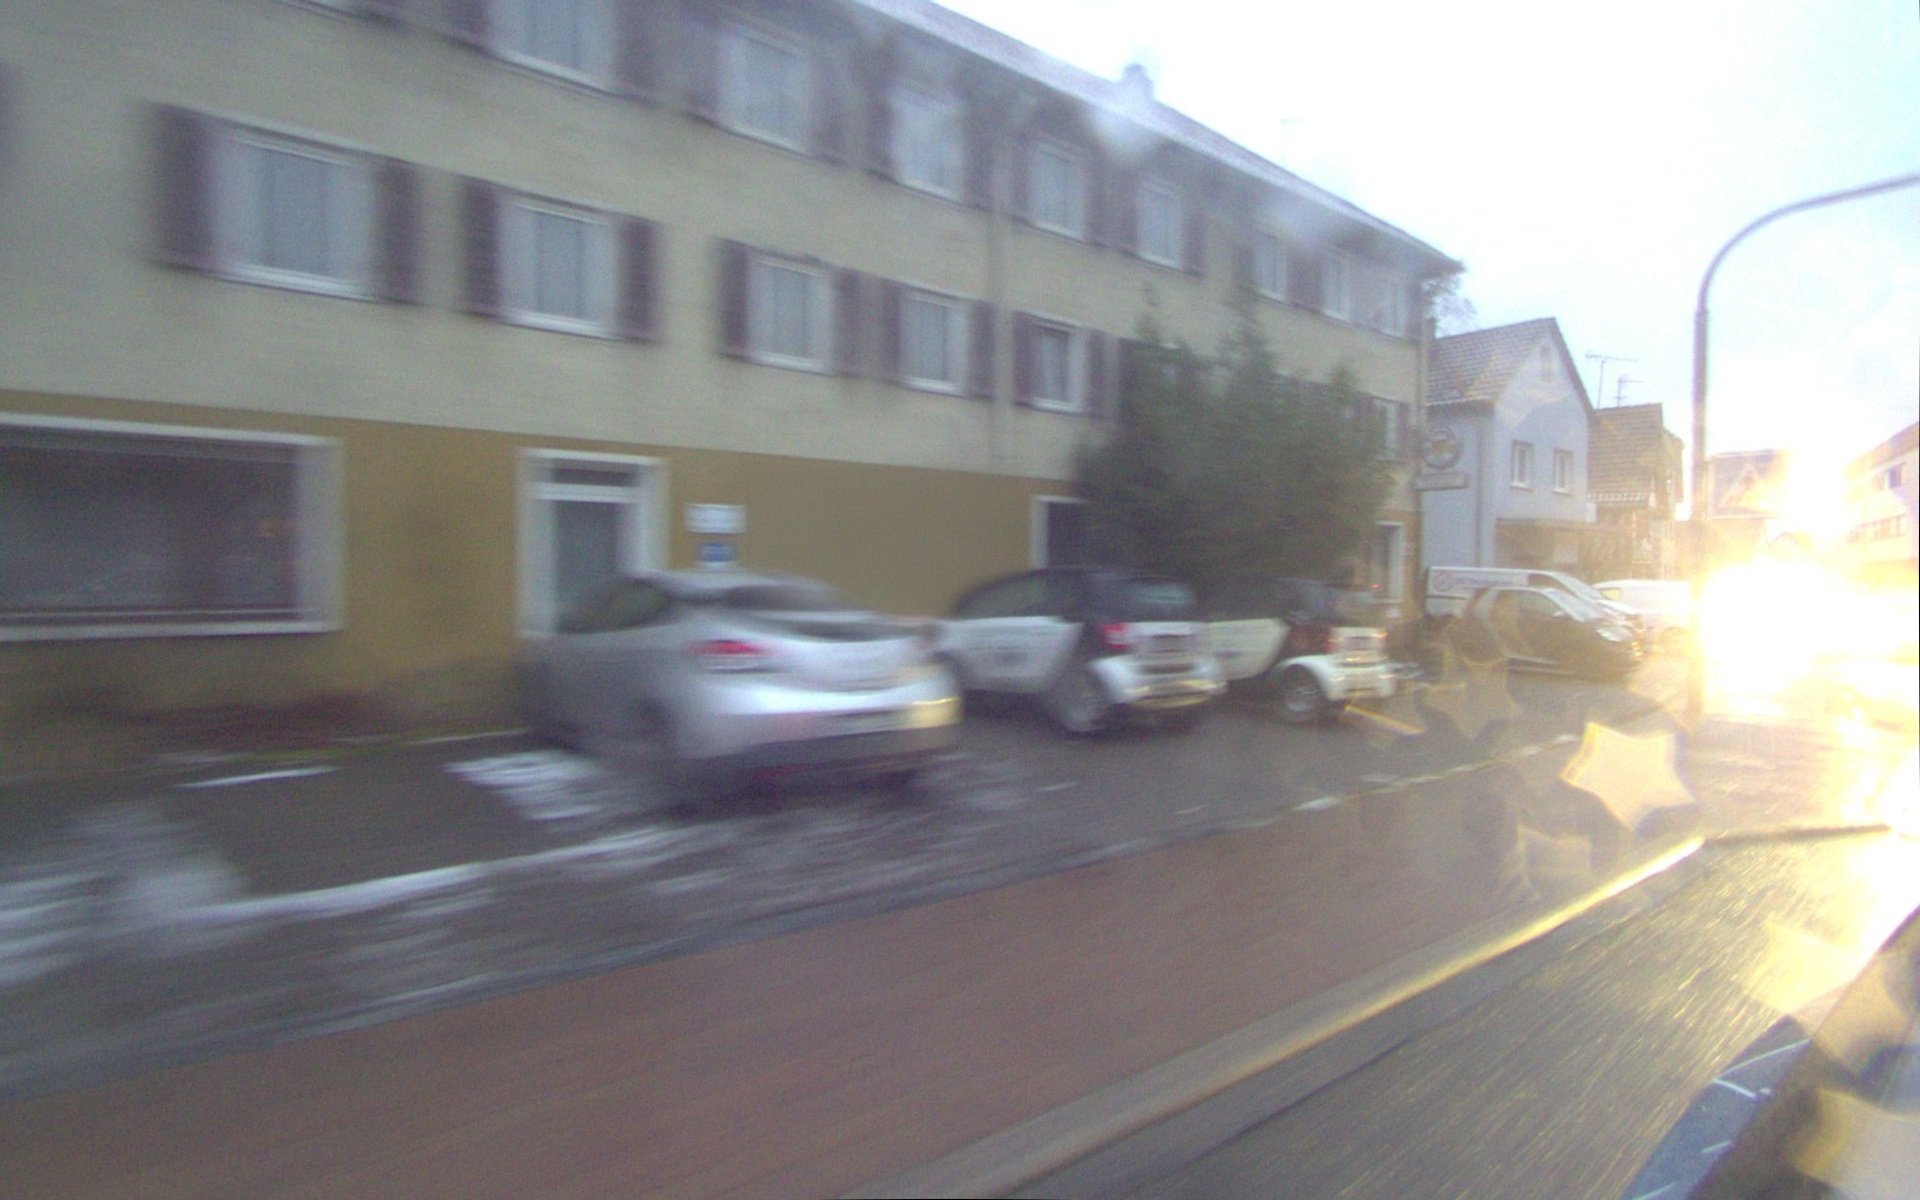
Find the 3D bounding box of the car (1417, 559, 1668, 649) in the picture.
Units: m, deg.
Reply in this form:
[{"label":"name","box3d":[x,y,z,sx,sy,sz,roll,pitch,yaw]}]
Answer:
[{"label":"car","box3d":[14.214,0.020,24.971,1.903,1.912,4.990,1,2,-42]}]

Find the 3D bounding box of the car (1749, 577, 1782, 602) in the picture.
[{"label":"car","box3d":[68.206,-0.892,85.767,1.825,2.039,3.655,-1,0,34]}]

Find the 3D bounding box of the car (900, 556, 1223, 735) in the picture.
[{"label":"car","box3d":[0.911,0.331,10.231,1.521,1.492,3.073,0,2,-39]}]

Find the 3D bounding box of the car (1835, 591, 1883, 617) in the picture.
[{"label":"car","box3d":[57.108,0.235,64.344,1.889,1.637,3.777,0,0,36]}]

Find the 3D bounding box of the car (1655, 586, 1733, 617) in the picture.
[{"label":"car","box3d":[46.997,0.090,64.906,3.859,1.900,1.849,2,1,31]}]

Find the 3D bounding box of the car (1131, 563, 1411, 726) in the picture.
[{"label":"car","box3d":[3.463,0.410,11.477,1.524,1.566,2.587,1,2,-42]}]

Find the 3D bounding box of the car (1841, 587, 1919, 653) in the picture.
[{"label":"car","box3d":[24.941,0.497,26.796,1.911,1.638,3.822,0,0,33]}]

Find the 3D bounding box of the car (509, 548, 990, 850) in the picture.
[{"label":"car","box3d":[-1.717,0.414,7.108,1.719,1.492,3.910,0,2,-39]}]

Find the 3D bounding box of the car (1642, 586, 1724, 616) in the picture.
[{"label":"car","box3d":[43.446,0.047,60.895,3.824,1.648,1.594,2,1,32]}]

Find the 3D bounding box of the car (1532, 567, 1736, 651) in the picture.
[{"label":"car","box3d":[17.170,0.152,25.885,4.043,1.865,1.834,4,3,44]}]

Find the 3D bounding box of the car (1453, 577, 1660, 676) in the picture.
[{"label":"car","box3d":[10.277,0.392,17.550,1.402,1.492,2.768,0,2,-41]}]

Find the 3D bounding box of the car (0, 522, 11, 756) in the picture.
[{"label":"car","box3d":[-6.089,0.294,5.167,1.559,1.492,3.224,0,2,-39]}]

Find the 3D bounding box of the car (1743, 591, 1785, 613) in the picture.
[{"label":"car","box3d":[55.575,0.159,69.984,1.889,1.485,3.952,0,0,34]}]
